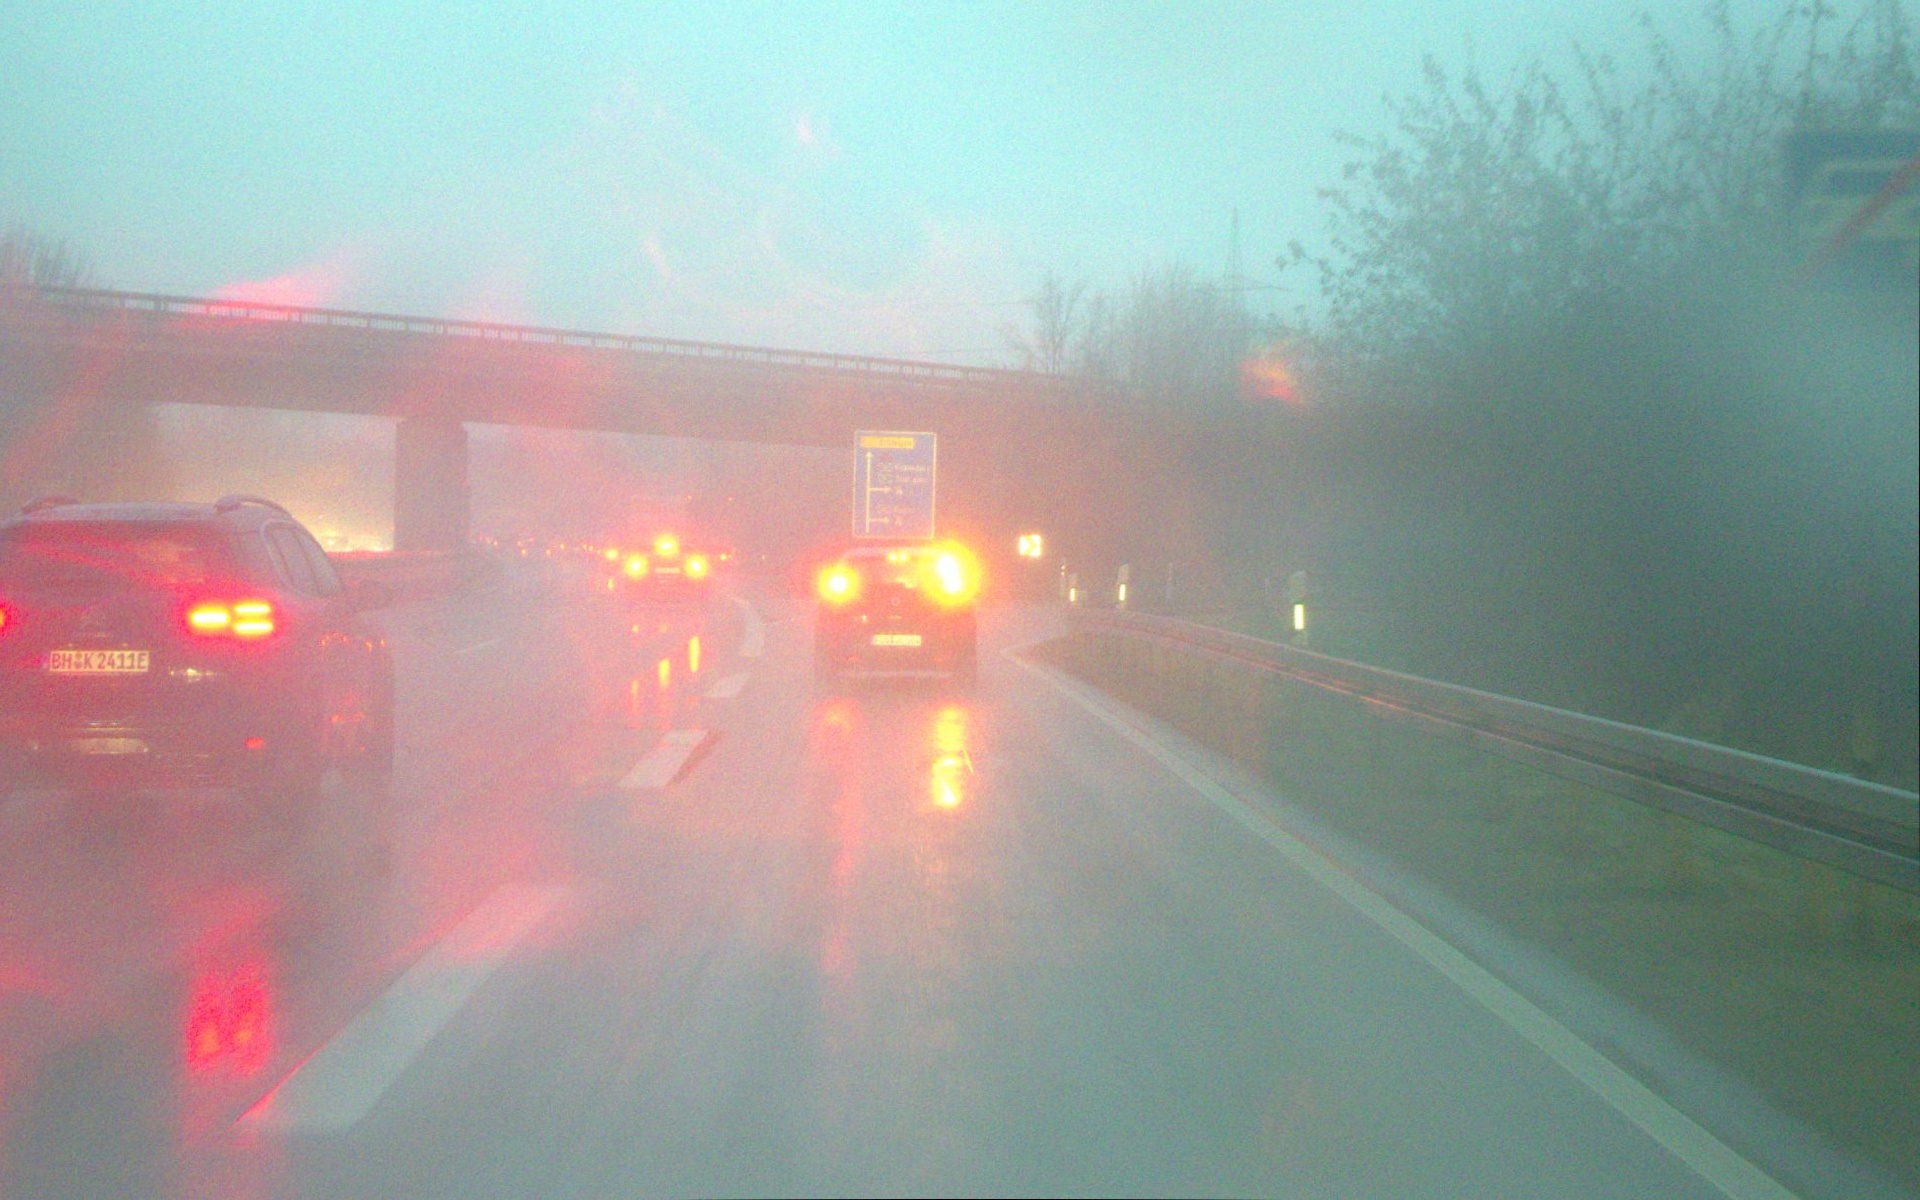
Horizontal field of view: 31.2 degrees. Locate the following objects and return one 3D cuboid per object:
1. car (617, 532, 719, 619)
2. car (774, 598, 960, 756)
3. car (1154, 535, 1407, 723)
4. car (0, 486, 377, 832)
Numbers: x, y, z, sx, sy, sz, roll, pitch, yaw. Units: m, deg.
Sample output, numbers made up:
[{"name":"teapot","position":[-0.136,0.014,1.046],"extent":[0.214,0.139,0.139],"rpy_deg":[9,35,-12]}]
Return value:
[{"name":"car","position":[-6.130,-0.540,72.531],"extent":[1.878,1.611,3.875],"rpy_deg":[2,3,-2]},{"name":"car","position":[-0.957,0.790,37.201],"extent":[1.732,1.424,3.765],"rpy_deg":[2,2,2]},{"name":"car","position":[2.521,0.213,27.838],"extent":[1.683,1.413,3.874],"rpy_deg":[0,0,0]},{"name":"car","position":[-4.237,0.241,18.553],"extent":[1.993,1.659,4.001],"rpy_deg":[0,1,-7]}]
